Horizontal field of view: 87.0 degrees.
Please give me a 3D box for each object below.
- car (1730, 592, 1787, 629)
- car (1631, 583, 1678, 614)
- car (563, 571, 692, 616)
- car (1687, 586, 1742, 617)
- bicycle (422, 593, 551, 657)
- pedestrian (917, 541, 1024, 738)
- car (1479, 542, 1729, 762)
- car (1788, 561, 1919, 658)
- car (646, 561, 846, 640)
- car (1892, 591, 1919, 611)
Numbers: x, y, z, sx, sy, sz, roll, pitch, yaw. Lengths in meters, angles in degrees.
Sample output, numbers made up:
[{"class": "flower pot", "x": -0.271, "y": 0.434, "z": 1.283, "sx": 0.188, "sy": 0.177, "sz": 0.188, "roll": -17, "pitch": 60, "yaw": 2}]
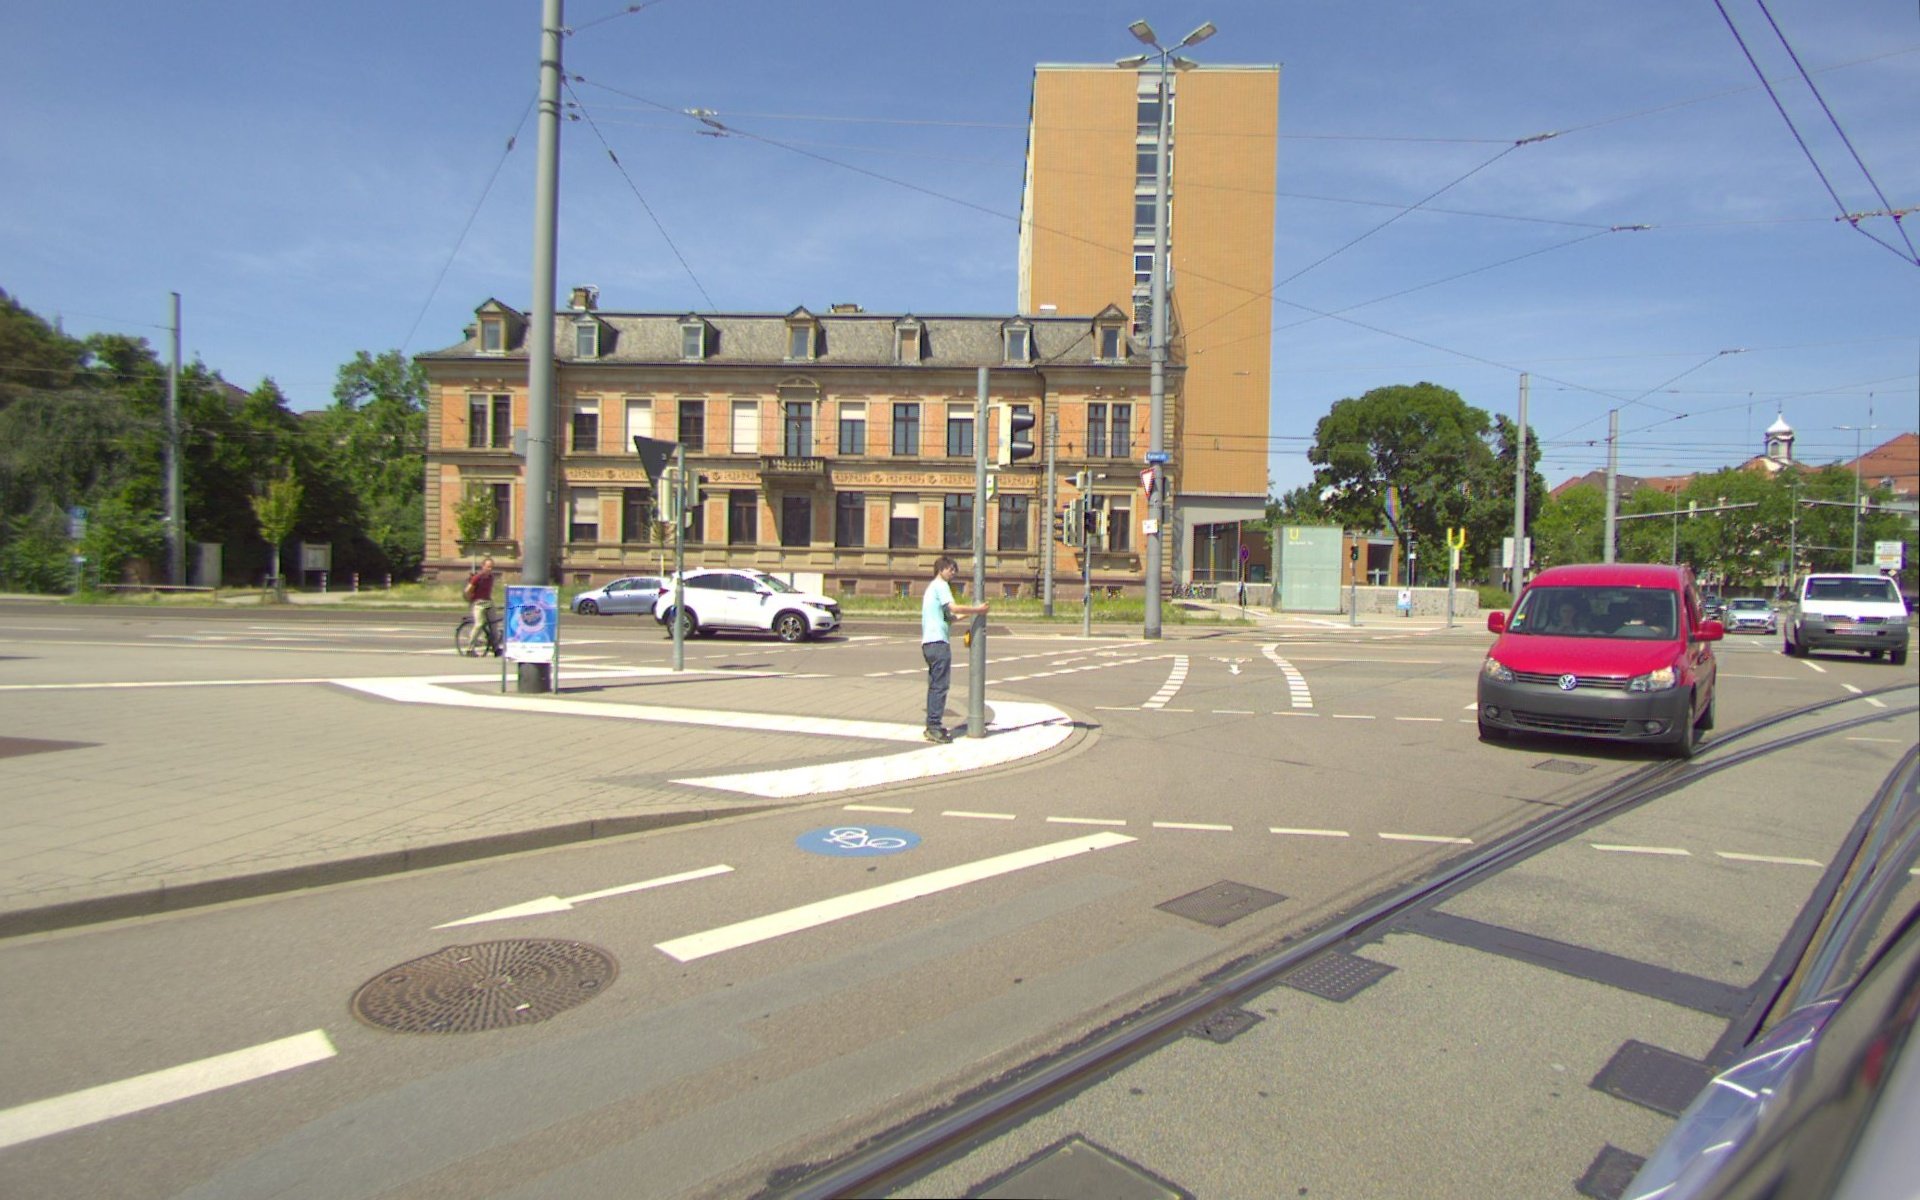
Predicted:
[{"class": "car", "x": 32.792, "y": 0.391, "z": 41.623, "sx": 1.562, "sy": 1.371, "sz": 3.416, "roll": 2, "pitch": 2, "yaw": 34}, {"class": "car", "x": 45.200, "y": -0.130, "z": 65.925, "sx": 1.982, "sy": 1.864, "sz": 3.961, "roll": 2, "pitch": 1, "yaw": 28}, {"class": "car", "x": -11.403, "y": -0.244, "z": 34.847, "sx": 3.927, "sy": 1.438, "sz": 1.616, "roll": 1, "pitch": 1, "yaw": 3}, {"class": "car", "x": 45.180, "y": 0.070, "z": 60.676, "sx": 1.982, "sy": 1.746, "sz": 3.961, "roll": 2, "pitch": 1, "yaw": 28}, {"class": "bicycle", "x": -8.148, "y": 0.411, "z": 17.438, "sx": 1.989, "sy": 1.018, "sz": 0.724, "roll": 1, "pitch": 1, "yaw": 13}, {"class": "pedestrian", "x": 0.086, "y": 0.354, "z": 9.686, "sx": 0.856, "sy": 1.801, "sz": 0.811, "roll": 1, "pitch": 1, "yaw": -11}, {"class": "car", "x": 6.864, "y": 0.390, "z": 10.595, "sx": 1.748, "sy": 1.835, "sz": 4.040, "roll": 2, "pitch": 2, "yaw": 39}, {"class": "car", "x": 20.188, "y": 0.143, "z": 22.880, "sx": 1.862, "sy": 1.990, "sz": 3.778, "roll": 2, "pitch": 2, "yaw": 34}, {"class": "car", "x": -4.798, "y": -0.028, "z": 22.953, "sx": 4.107, "sy": 1.625, "sz": 1.704, "roll": 1, "pitch": 1, "yaw": 9}, {"class": "car", "x": 74.620, "y": 0.076, "z": 79.053, "sx": 1.518, "sy": 1.476, "sz": 2.970, "roll": 1, "pitch": 1, "yaw": 18}]
